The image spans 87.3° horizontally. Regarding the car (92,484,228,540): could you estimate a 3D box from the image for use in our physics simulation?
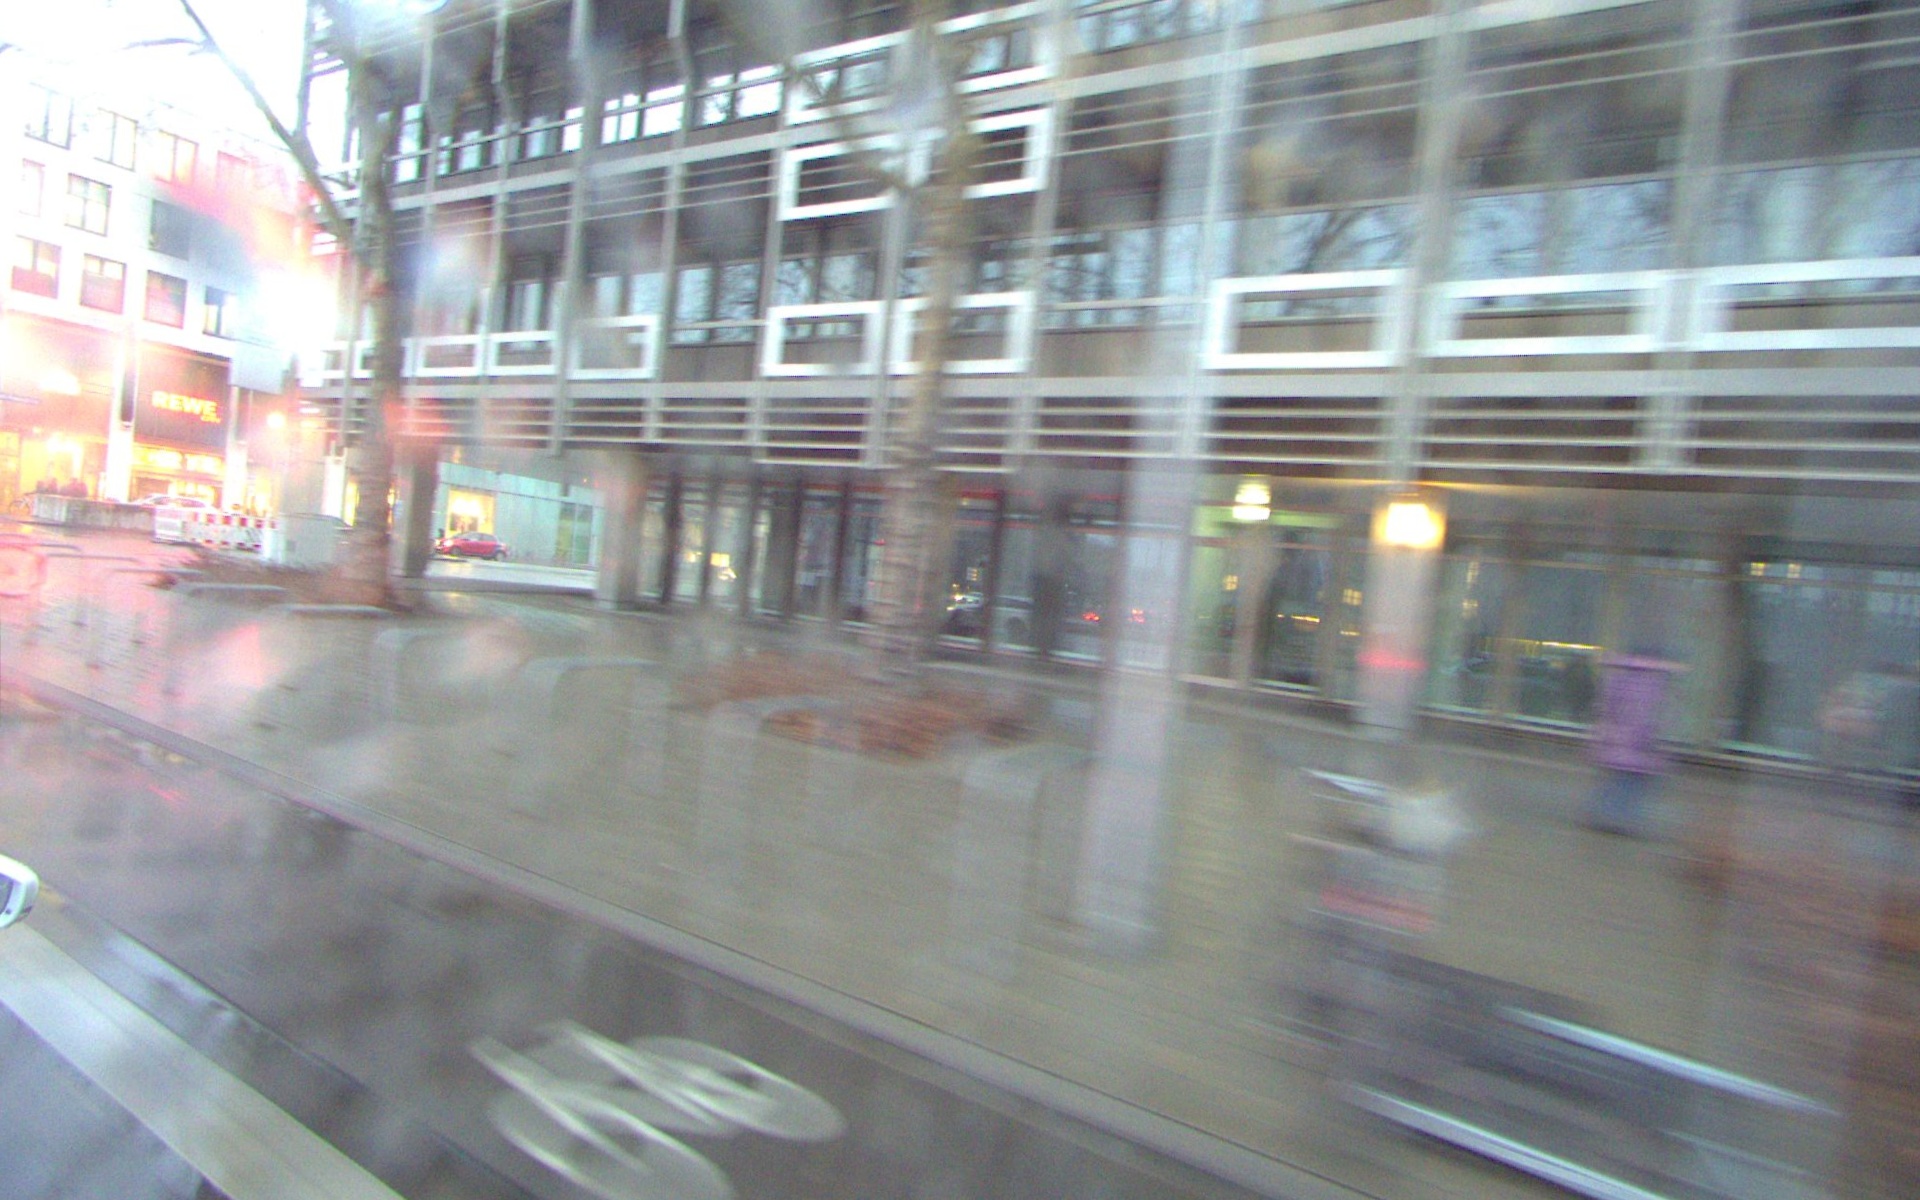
[{"bbox_3d":[-34.925,-3.815,44.000,1.680,1.784,4.301,7,1,36],"label":"car"}]

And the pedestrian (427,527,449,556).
[{"bbox_3d":[-32.174,-3.605,62.009,0.698,1.651,0.795,7,0,33],"label":"pedestrian"}]

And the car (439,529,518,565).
[{"bbox_3d":[-26.909,-2.934,56.287,1.649,1.602,3.572,6,1,31],"label":"car"}]

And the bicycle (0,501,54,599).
[{"bbox_3d":[-12.001,-0.629,11.963,0.428,1.164,1.751,7,3,28],"label":"bicycle"}]

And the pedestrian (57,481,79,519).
[{"bbox_3d":[-41.840,-4.678,47.192,0.529,1.707,0.546,5,2,-19],"label":"pedestrian"}]

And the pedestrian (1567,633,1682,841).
[{"bbox_3d":[5.460,1.095,8.286,0.605,1.564,0.648,7,2,34],"label":"pedestrian"}]

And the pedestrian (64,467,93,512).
[{"bbox_3d":[-34.636,-4.332,39.530,0.777,1.616,0.606,5,2,-42],"label":"pedestrian"}]

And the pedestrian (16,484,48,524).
[{"bbox_3d":[-39.899,-4.129,43.254,0.528,1.590,0.815,7,2,33],"label":"pedestrian"}]

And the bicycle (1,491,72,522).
[{"bbox_3d":[-39.825,-4.026,43.392,0.533,1.003,2.131,6,-1,32],"label":"bicycle"}]

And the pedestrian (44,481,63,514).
[{"bbox_3d":[-49.516,-5.590,54.956,0.529,1.740,0.500,5,2,-19],"label":"pedestrian"}]

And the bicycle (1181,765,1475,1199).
[{"bbox_3d":[1.365,1.225,3.491,0.607,0.987,1.788,7,2,28],"label":"bicycle"}]

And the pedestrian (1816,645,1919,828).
[{"bbox_3d":[9.161,1.328,9.987,0.767,1.678,0.616,7,2,33],"label":"pedestrian"}]

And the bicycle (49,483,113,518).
[{"bbox_3d":[-34.607,-3.902,39.636,1.838,1.107,0.610,5,2,-42],"label":"bicycle"}]
